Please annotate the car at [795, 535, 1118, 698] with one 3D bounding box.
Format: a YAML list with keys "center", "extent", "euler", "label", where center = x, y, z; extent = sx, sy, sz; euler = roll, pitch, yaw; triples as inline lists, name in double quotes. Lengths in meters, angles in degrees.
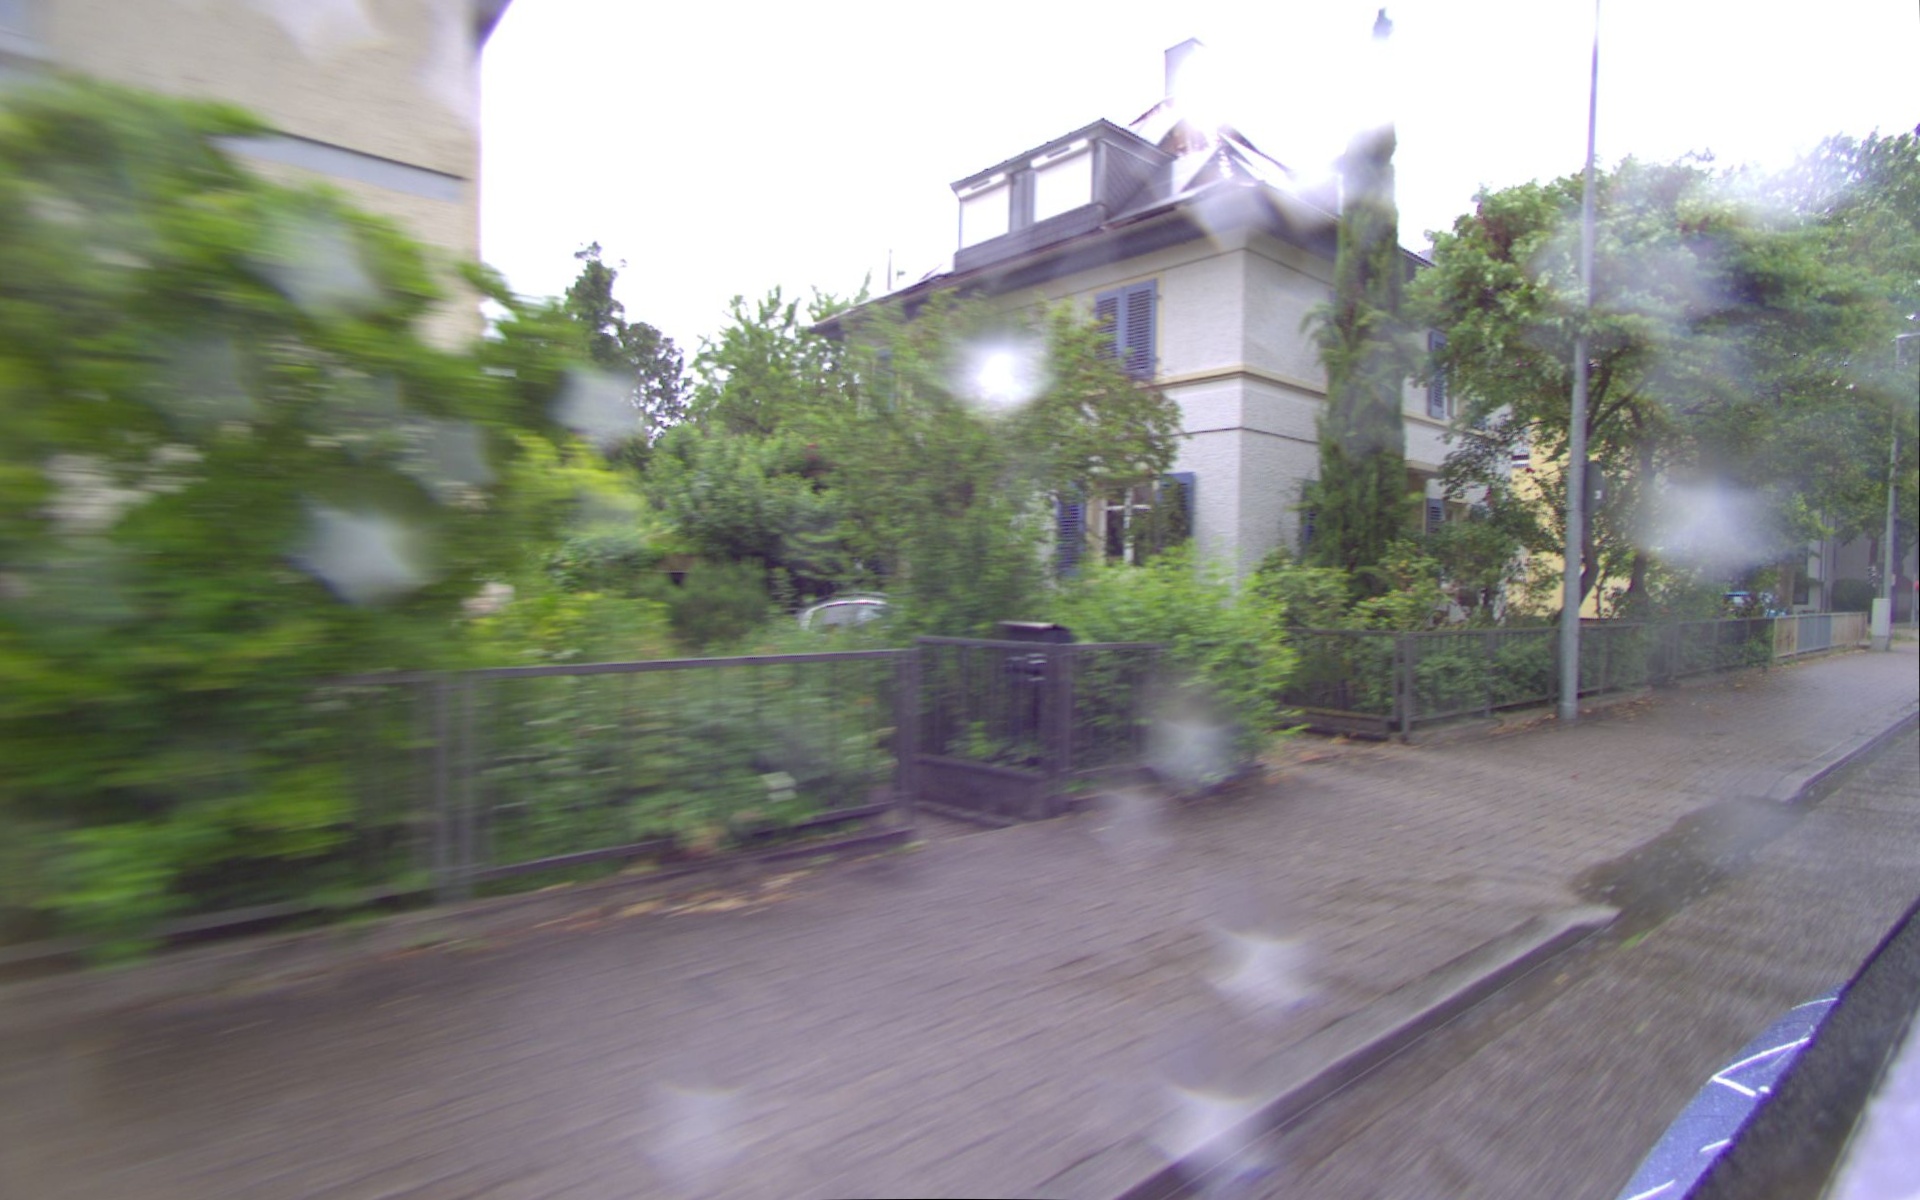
- center: [-0.219, 0.293, 12.077]
  extent: [1.787, 1.601, 3.996]
  euler: [1, -4, -37]
  label: "car"

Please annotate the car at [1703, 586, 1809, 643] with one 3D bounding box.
- center: [22.573, 0.384, 28.666]
  extent: [3.463, 1.489, 1.673]
  euler: [0, 1, -40]
  label: "car"

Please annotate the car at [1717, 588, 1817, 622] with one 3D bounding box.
- center: [44.608, 0.246, 55.994]
  extent: [4.214, 1.708, 1.683]
  euler: [2, 1, 44]
  label: "car"

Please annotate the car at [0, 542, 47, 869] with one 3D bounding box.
- center: [-4.989, 0.493, 2.702]
  extent: [1.736, 1.475, 4.005]
  euler: [2, 1, -6]
  label: "car"
